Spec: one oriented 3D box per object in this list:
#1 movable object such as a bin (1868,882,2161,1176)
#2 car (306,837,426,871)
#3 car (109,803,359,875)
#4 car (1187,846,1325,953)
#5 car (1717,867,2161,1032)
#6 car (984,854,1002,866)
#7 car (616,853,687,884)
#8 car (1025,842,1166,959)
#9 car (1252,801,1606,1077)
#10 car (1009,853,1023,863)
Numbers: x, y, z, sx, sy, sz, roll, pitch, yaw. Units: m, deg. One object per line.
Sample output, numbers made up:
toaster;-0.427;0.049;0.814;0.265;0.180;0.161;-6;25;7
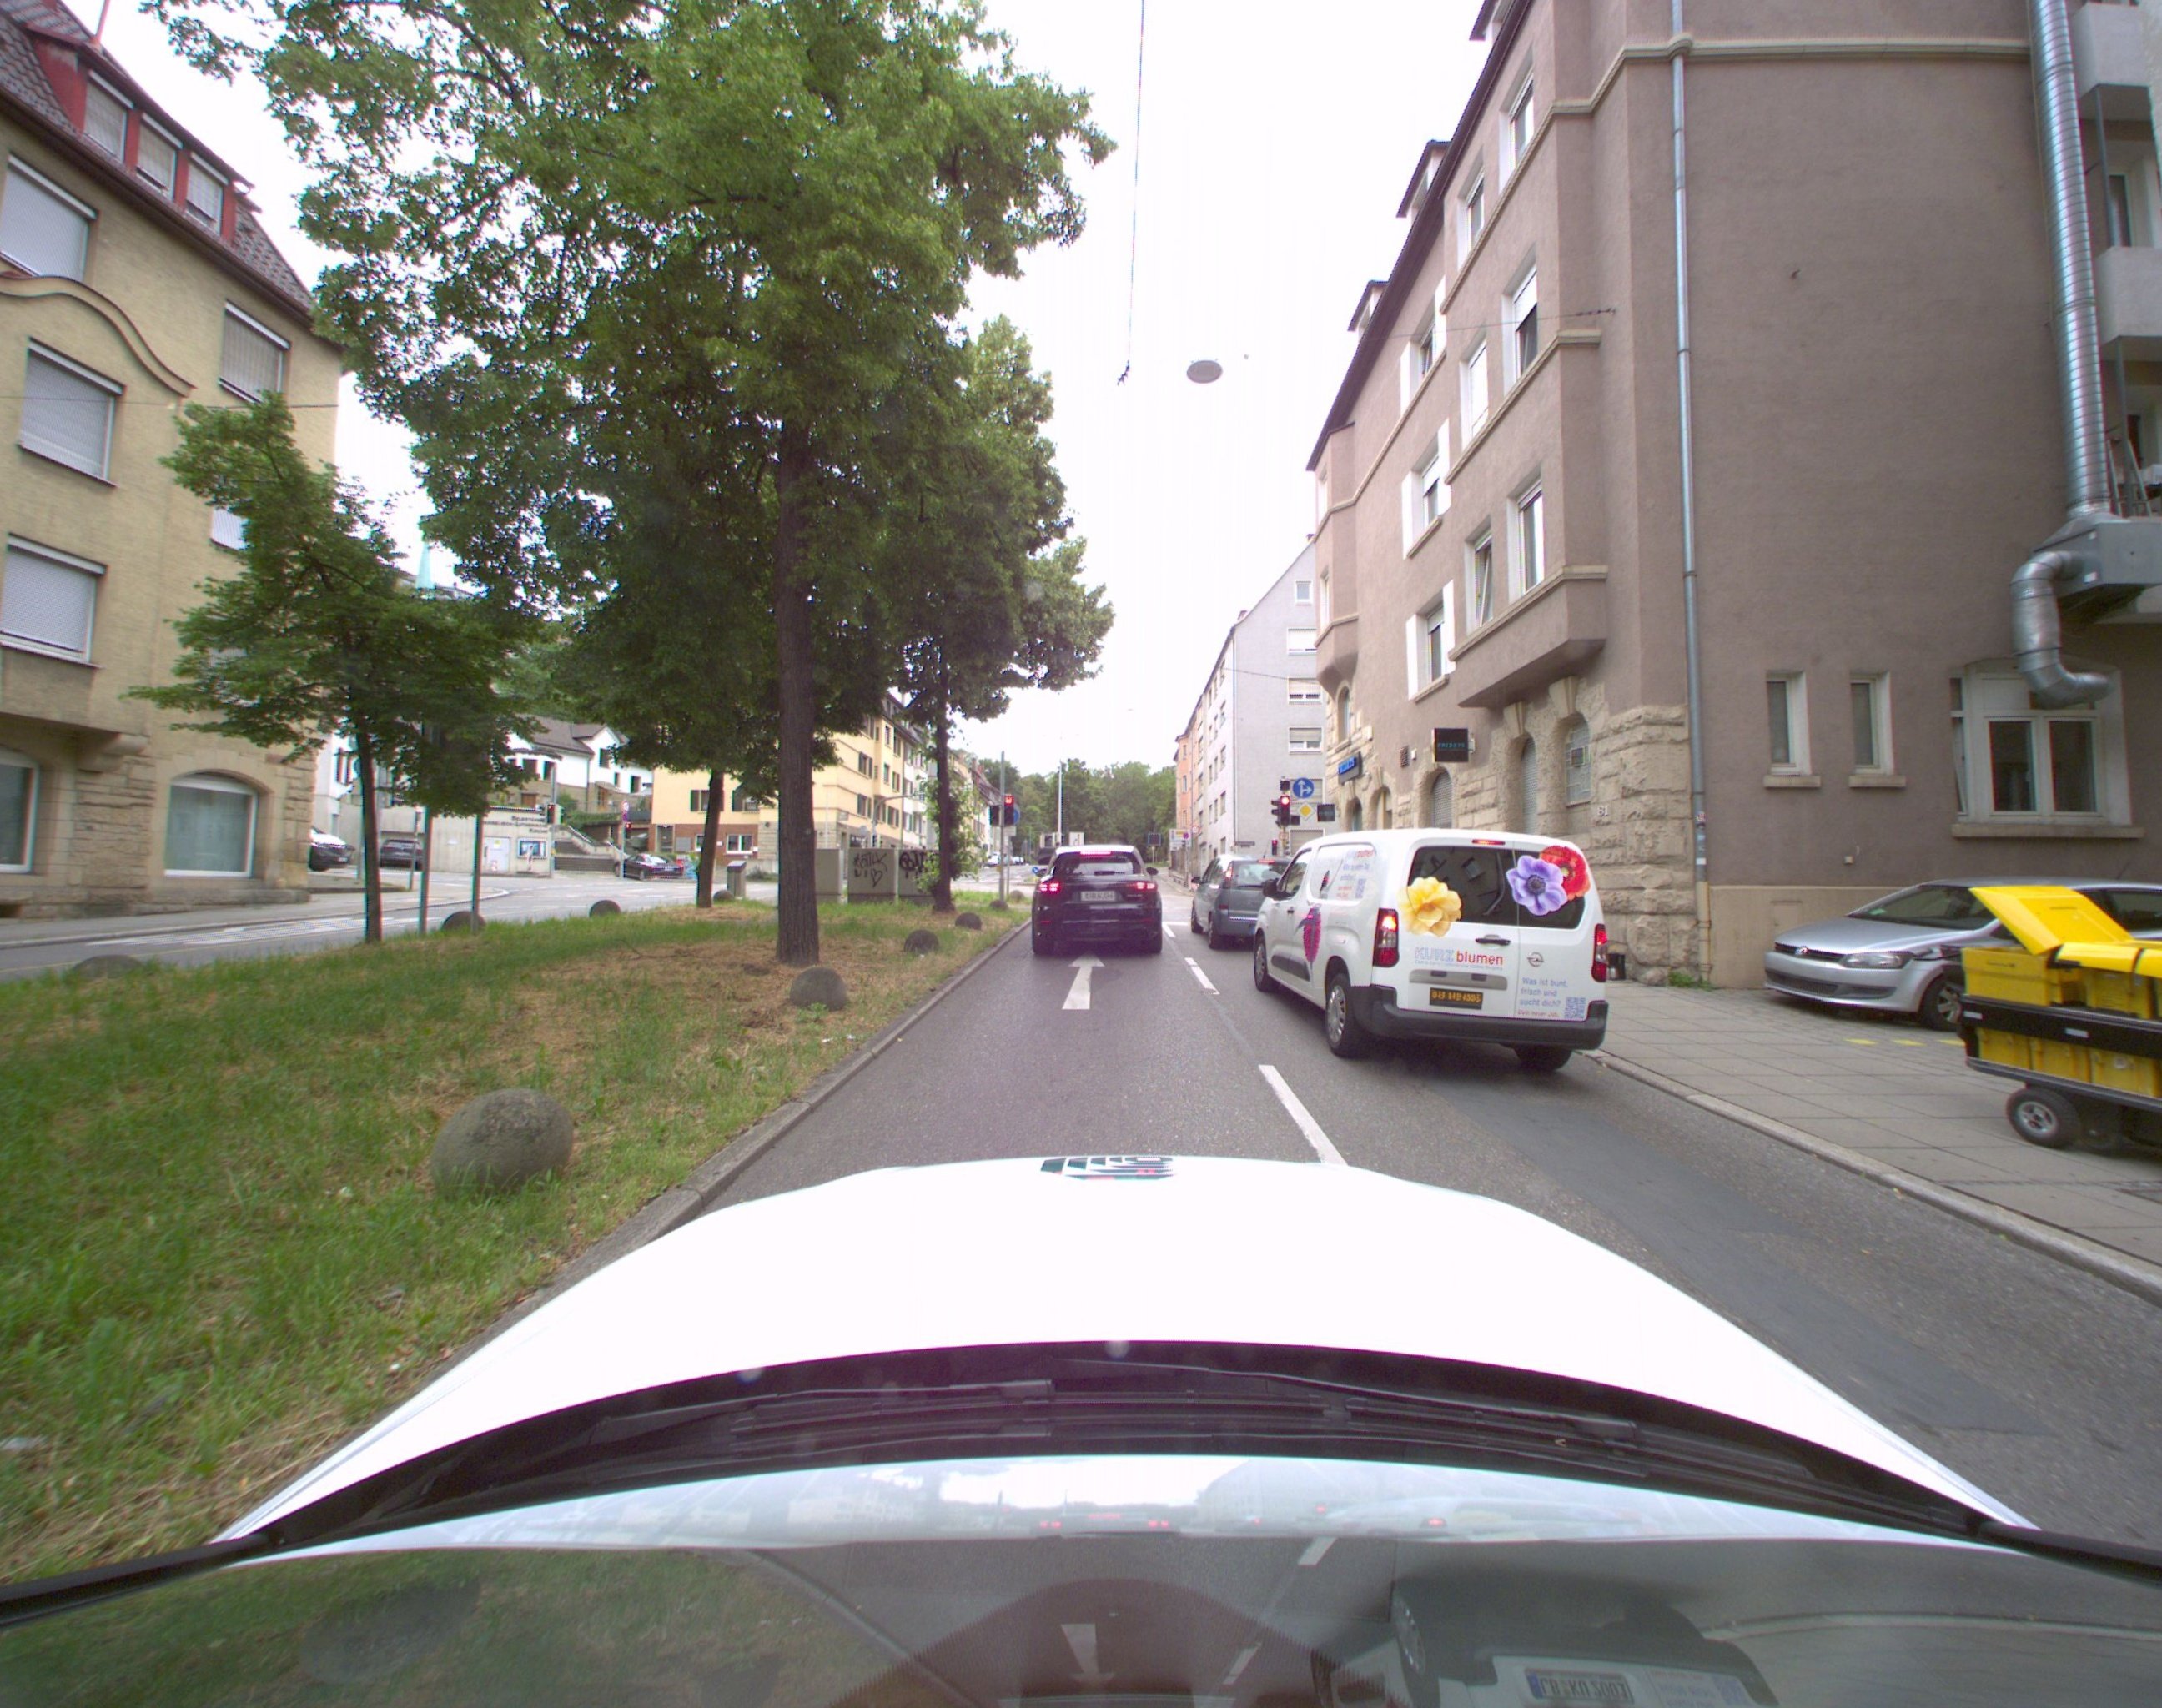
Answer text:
movable object such as a bin;5.697;0.889;4.663;0.717;1.421;1.693;-1;-1;0
car;-32.561;0.016;37.198;4.021;1.510;1.779;1;0;-41
car;-27.298;-0.444;26.527;5.186;2.064;1.982;2;-1;-21
car;2.995;0.716;14.663;1.746;1.593;3.632;3;0;1
car;9.291;0.900;8.418;3.971;1.403;1.802;0;2;2
car;-11.392;0.713;105.660;1.788;1.510;4.001;0;0;1
car;-23.944;0.818;45.417;3.948;1.665;1.894;-1;-2;35
car;0.312;0.641;13.588;1.986;1.653;4.003;-1;0;3
car;2.888;0.627;8.066;1.840;1.825;5.028;1;-1;6
car;-10.550;0.628;132.066;1.788;1.510;4.001;0;0;1
